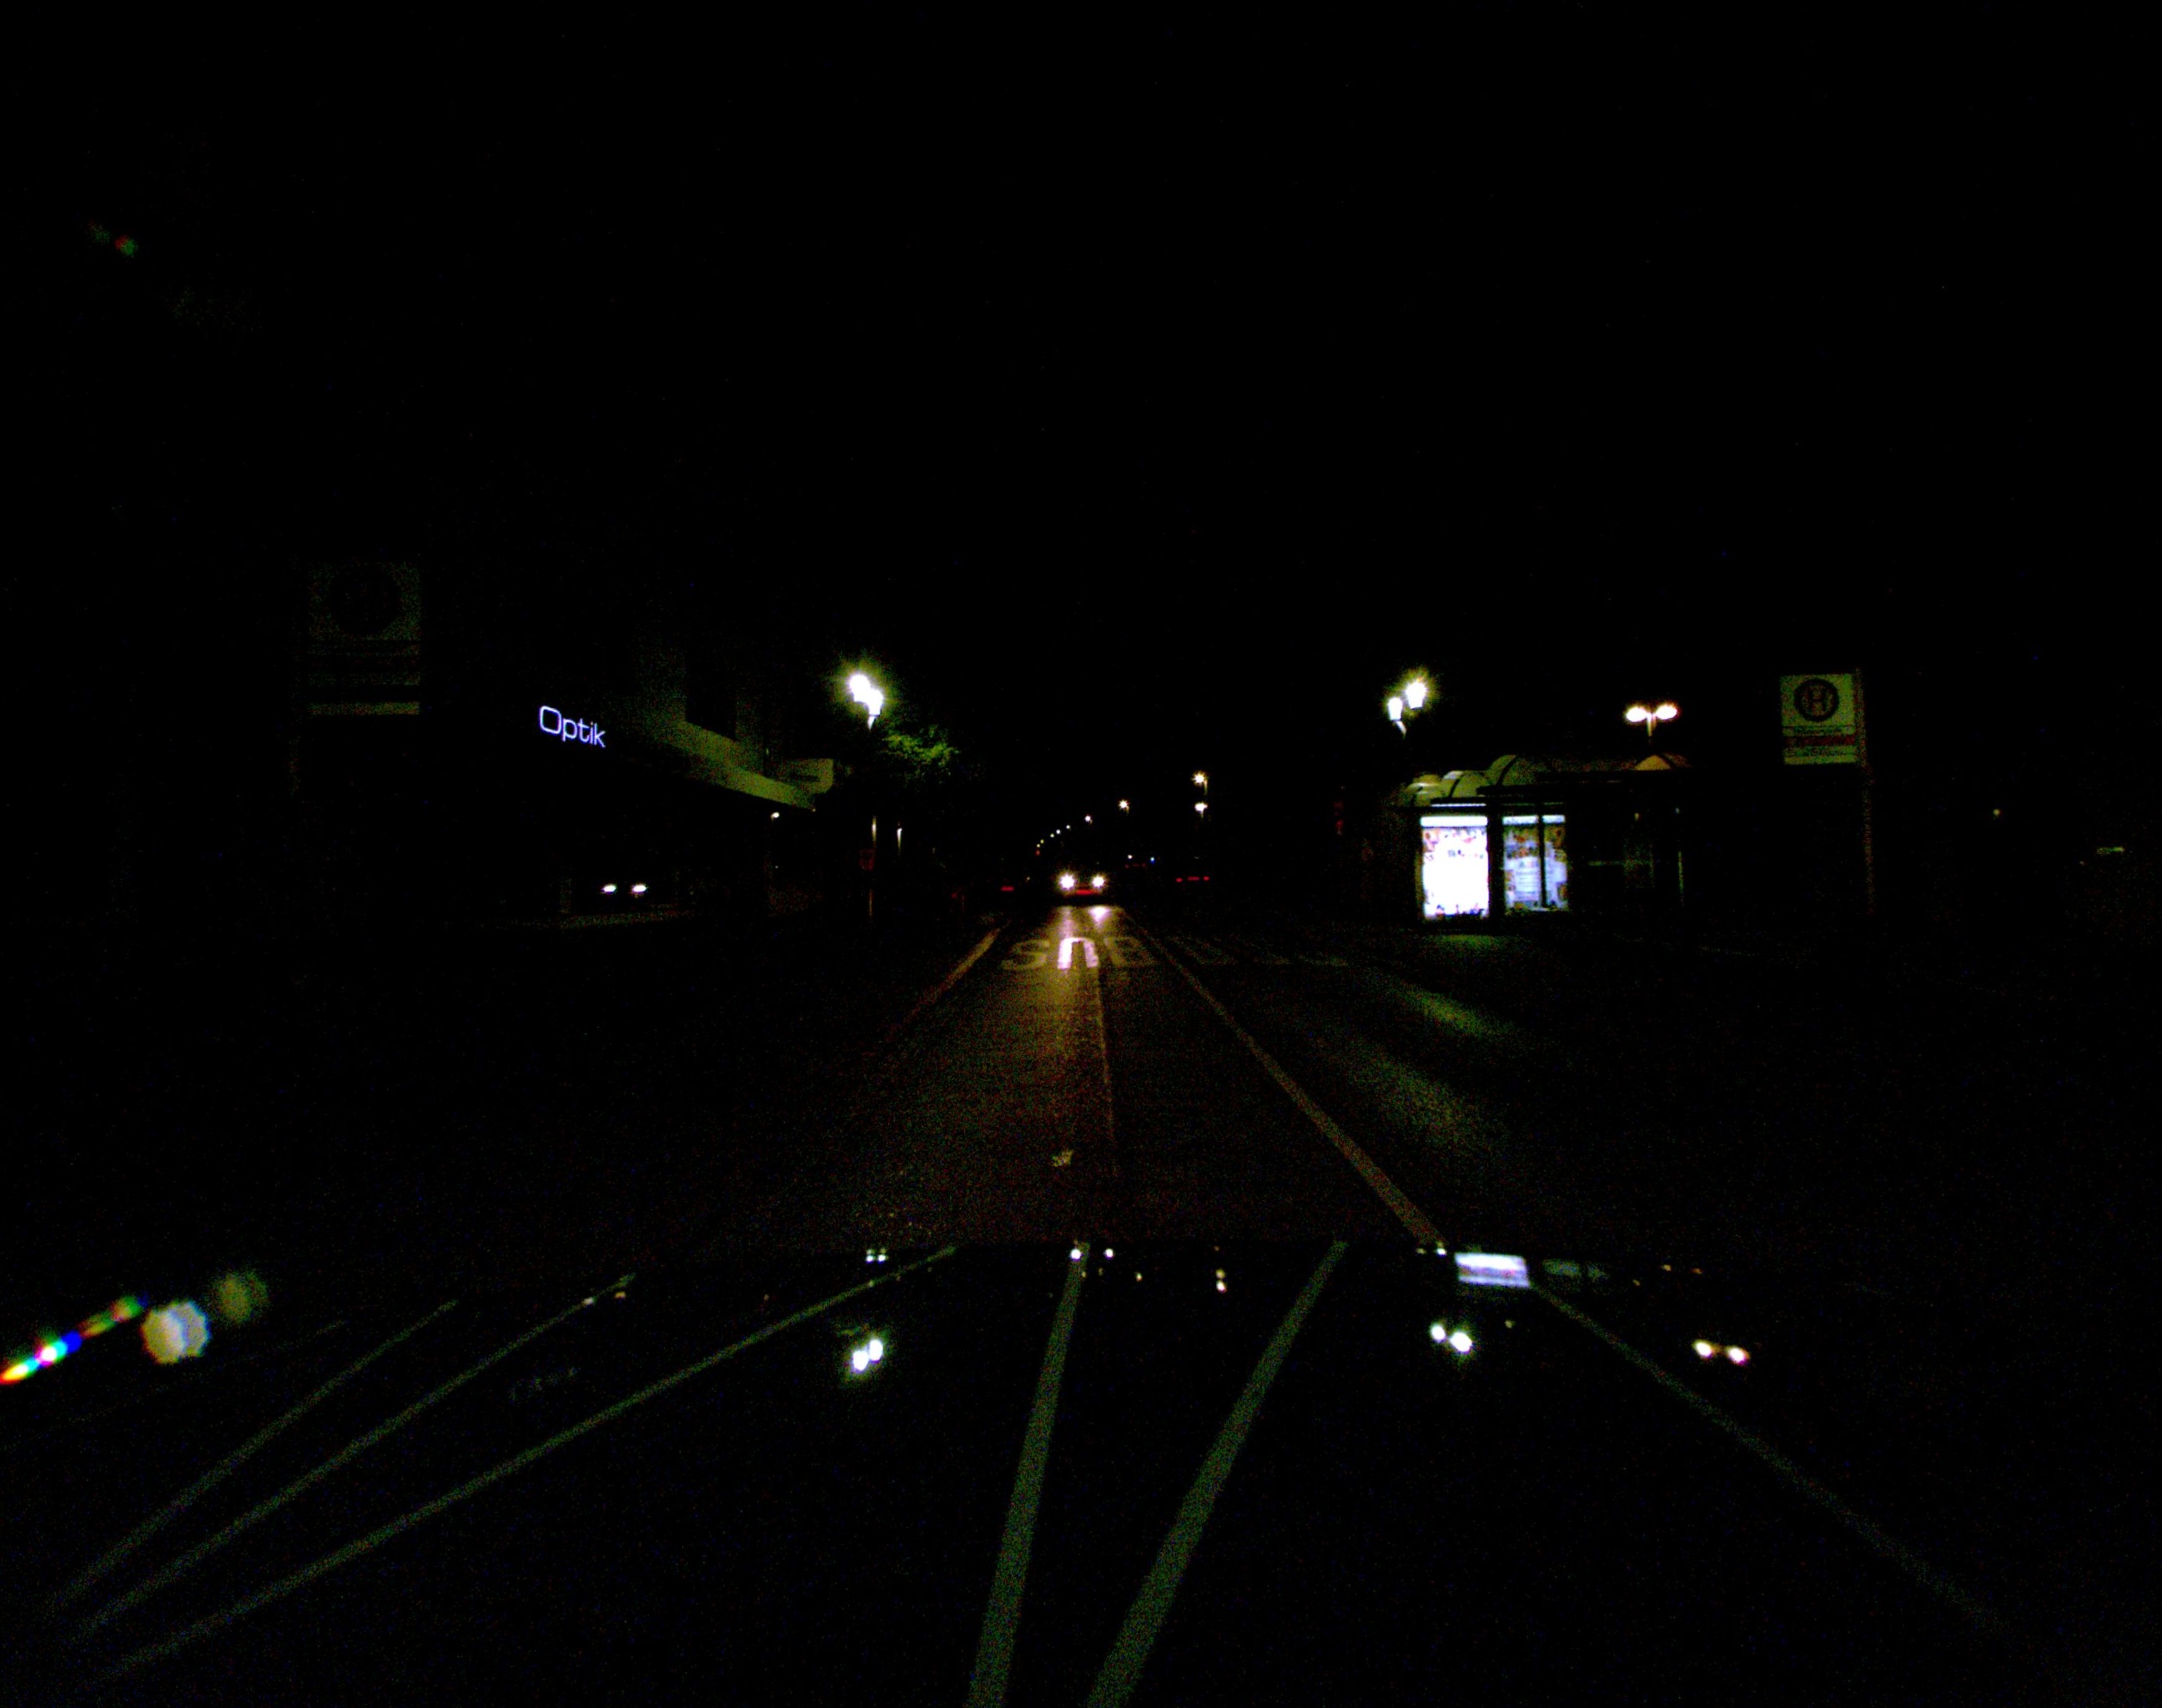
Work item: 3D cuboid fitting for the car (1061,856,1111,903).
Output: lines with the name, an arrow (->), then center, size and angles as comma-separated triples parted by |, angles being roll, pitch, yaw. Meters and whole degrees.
car -> 0.168, 0.869, 27.531 | 1.627, 1.496, 3.549 | -2, 1, 0

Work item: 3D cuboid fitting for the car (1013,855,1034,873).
car -> -5.238, 0.903, 69.388 | 1.681, 1.439, 4.610 | -3, 1, -2

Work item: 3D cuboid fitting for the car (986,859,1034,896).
car -> -3.003, 0.968, 32.848 | 1.863, 1.434, 4.592 | 0, 0, -3

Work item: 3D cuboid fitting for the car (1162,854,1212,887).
car -> 5.118, 0.779, 37.241 | 1.696, 1.428, 4.127 | -3, 0, -2

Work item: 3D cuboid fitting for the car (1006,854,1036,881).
car -> -3.865, 0.856, 49.357 | 1.792, 1.632, 4.378 | 0, 0, -4

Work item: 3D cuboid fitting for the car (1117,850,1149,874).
car -> 3.714, 0.556, 54.740 | 1.697, 1.515, 3.688 | -2, 2, -6

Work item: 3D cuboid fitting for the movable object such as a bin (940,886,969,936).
movable object such as a bin -> -2.589, 1.155, 15.535 | 0.525, 0.932, 0.629 | -2, 2, -11

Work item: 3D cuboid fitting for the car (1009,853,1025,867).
car -> -7.240, 0.681, 85.670 | 1.643, 1.458, 3.774 | -3, 1, -5
